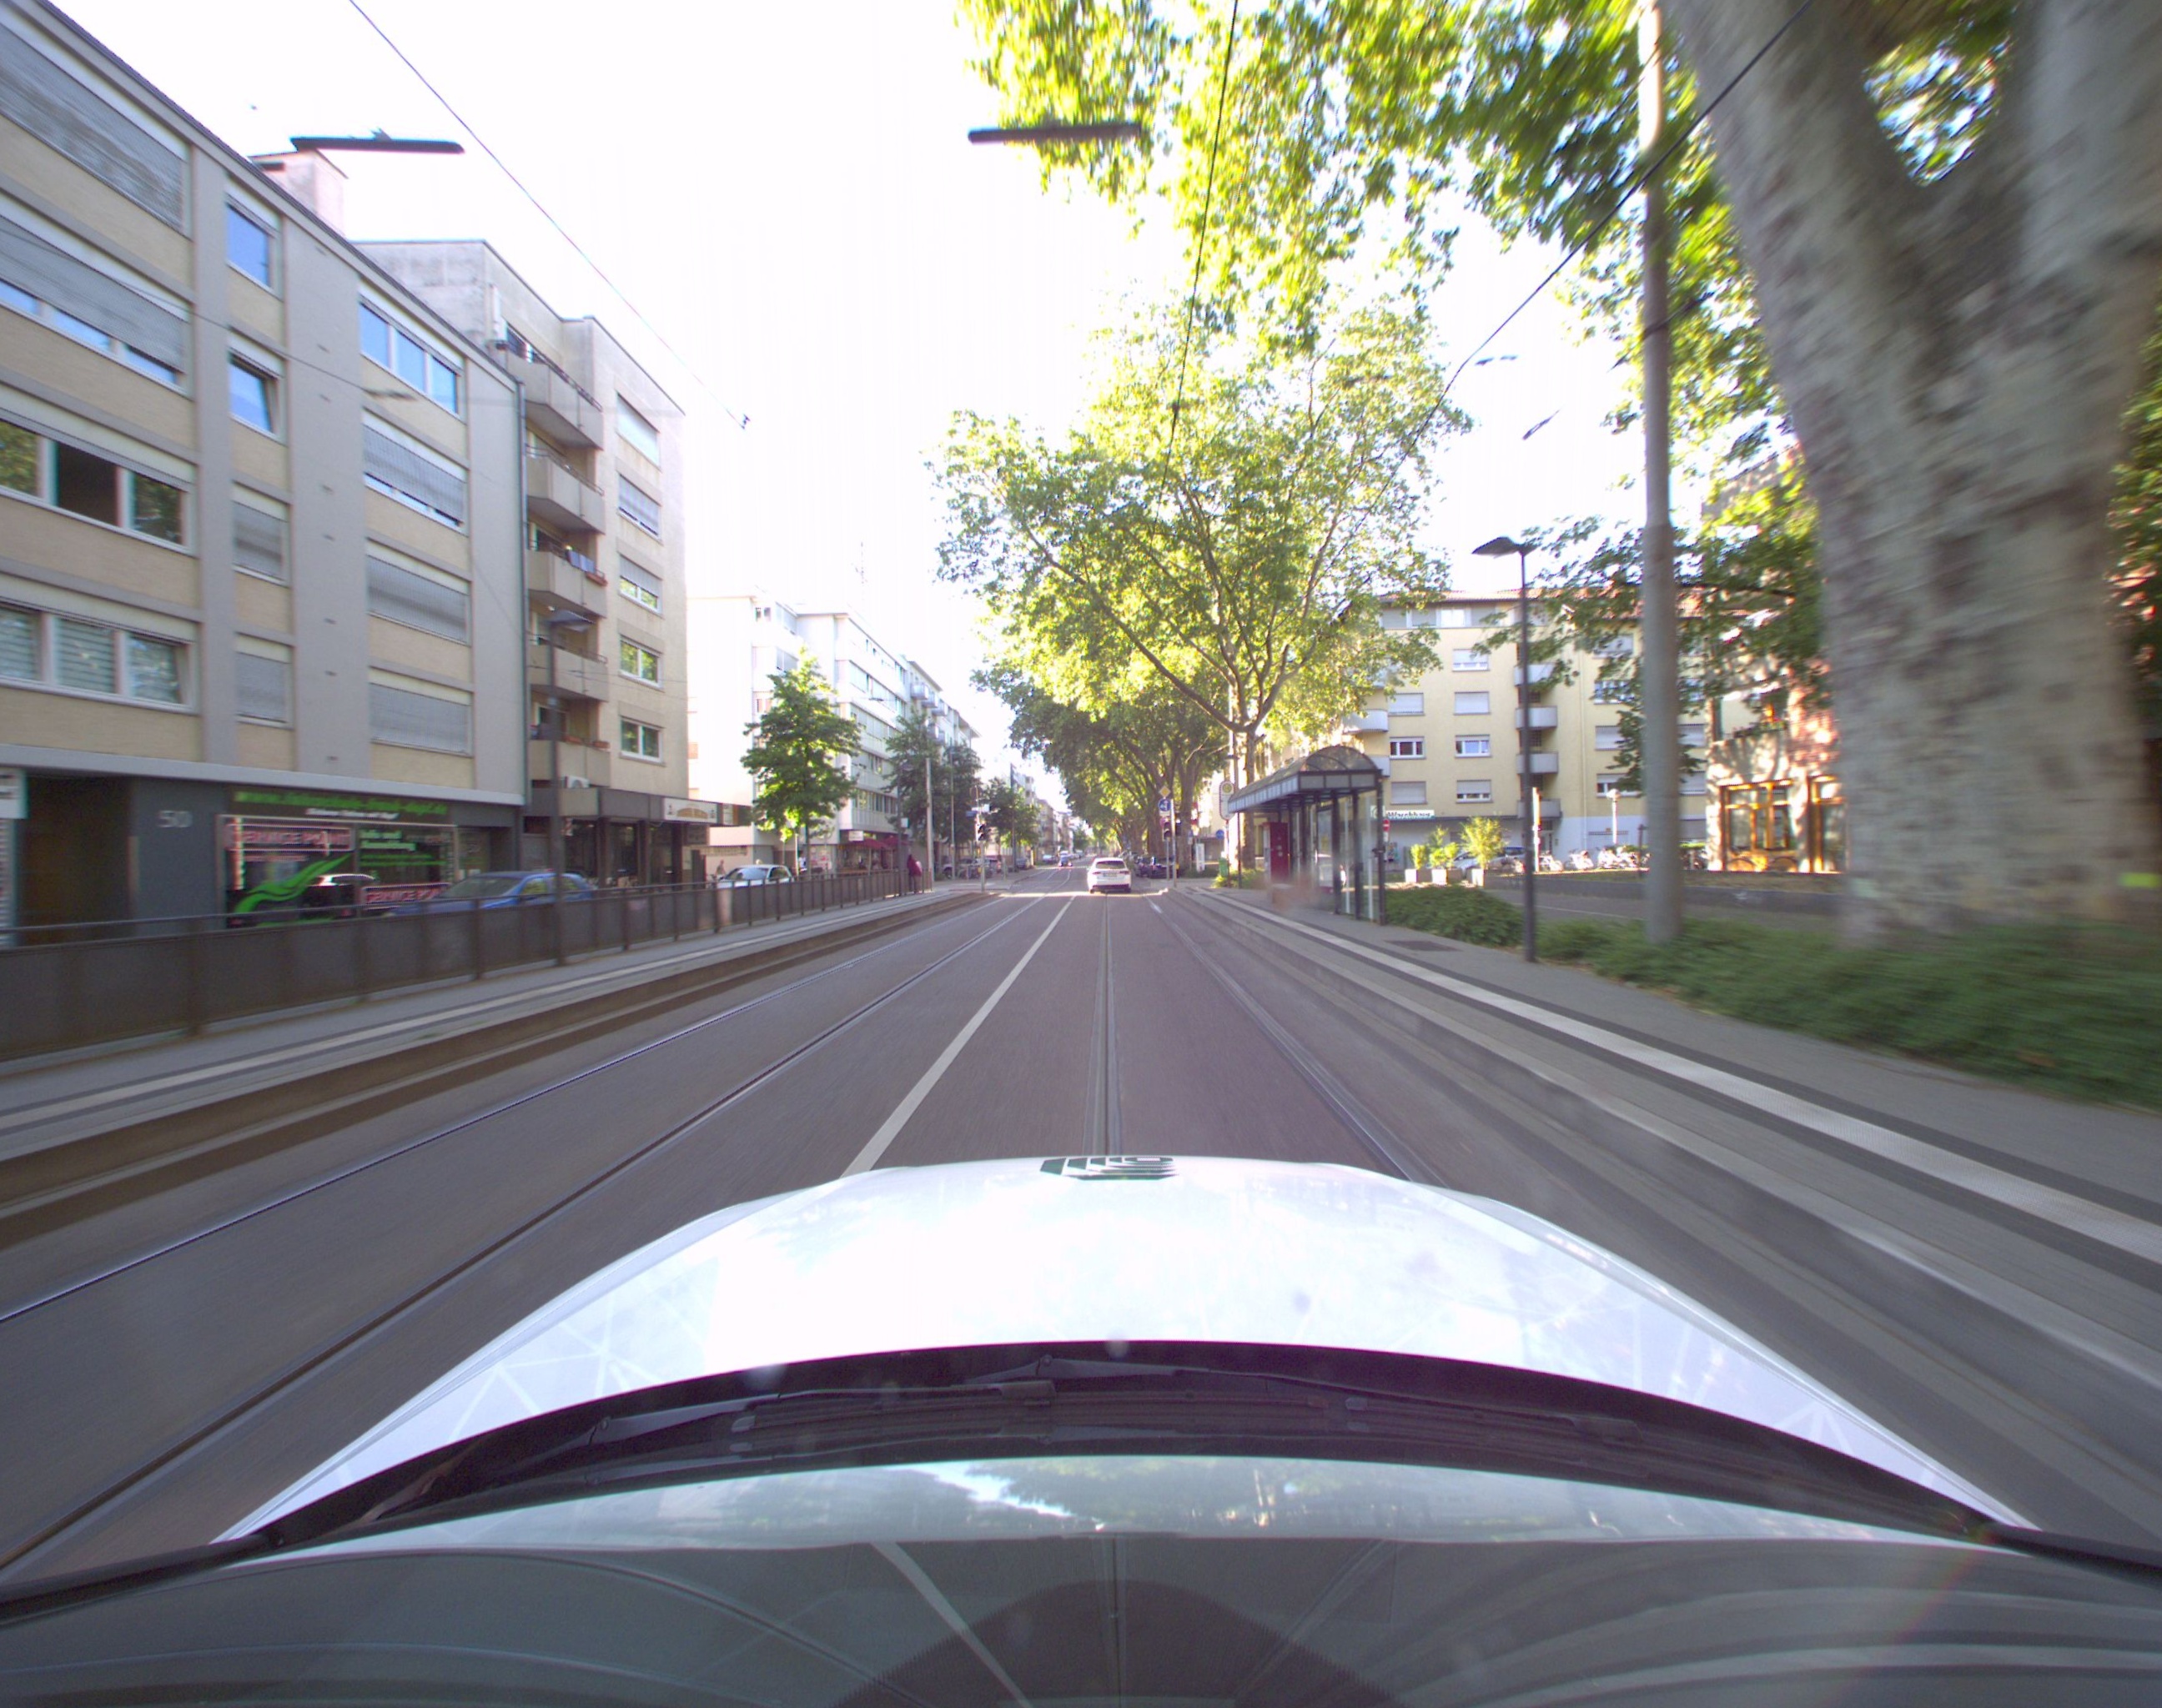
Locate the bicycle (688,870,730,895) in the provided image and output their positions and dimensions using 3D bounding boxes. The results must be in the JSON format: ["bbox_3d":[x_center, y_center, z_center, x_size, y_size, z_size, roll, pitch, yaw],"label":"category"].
[{"bbox_3d":[-17.455,1.339,38.240,1.772,1.156,0.574,-2,0,12],"label":"bicycle"}]

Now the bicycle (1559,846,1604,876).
[{"bbox_3d":[20.214,0.269,32.937,0.633,1.156,1.984,-3,0,4],"label":"bicycle"}]

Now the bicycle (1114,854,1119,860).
[{"bbox_3d":[6.382,0.550,146.677,0.647,1.071,1.583,-2,0,0],"label":"bicycle"}]

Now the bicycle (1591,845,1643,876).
[{"bbox_3d":[21.498,0.263,32.730,0.727,1.156,2.052,-3,0,2],"label":"bicycle"}]

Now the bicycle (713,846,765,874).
[{"bbox_3d":[-14.954,0.259,35.655,2.038,1.156,0.568,-2,0,-21],"label":"bicycle"}]

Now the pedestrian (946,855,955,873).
[{"bbox_3d":[-12.682,0.955,79.122,0.661,1.691,0.748,-1,0,0],"label":"pedestrian"}]

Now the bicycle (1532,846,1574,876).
[{"bbox_3d":[18.969,0.278,32.771,0.598,1.156,1.696,-3,0,-3],"label":"bicycle"}]

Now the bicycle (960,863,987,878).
[{"bbox_3d":[-7.673,1.176,58.217,1.825,1.007,0.657,0,-1,-4],"label":"bicycle"}]

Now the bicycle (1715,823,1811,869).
[{"bbox_3d":[18.824,-0.221,22.515,1.913,1.156,0.575,-3,-1,17],"label":"bicycle"}]

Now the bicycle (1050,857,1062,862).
[{"bbox_3d":[-5.448,1.242,179.365,2.545,1.172,0.873,2,-2,-38],"label":"bicycle"}]

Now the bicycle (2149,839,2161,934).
[{"bbox_3d":[14.266,0.344,9.779,2.023,1.156,0.572,-3,0,2],"label":"bicycle"}]

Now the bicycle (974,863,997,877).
[{"bbox_3d":[-7.230,1.205,61.784,1.687,1.007,0.657,0,-1,-4],"label":"bicycle"}]

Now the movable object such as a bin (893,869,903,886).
[{"bbox_3d":[-10.311,1.329,45.860,0.539,0.932,0.647,-2,0,-15],"label":"movable object such as a bin"}]

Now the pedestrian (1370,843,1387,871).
[{"bbox_3d":[17.986,0.163,49.261,0.704,1.682,0.656,-2,0,-26],"label":"pedestrian"}]

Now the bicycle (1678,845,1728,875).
[{"bbox_3d":[24.681,0.232,32.363,0.561,1.156,1.696,-3,0,-3],"label":"bicycle"}]

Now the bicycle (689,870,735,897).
[{"bbox_3d":[-17.023,1.356,37.555,1.849,1.156,0.573,-2,0,5],"label":"bicycle"}]

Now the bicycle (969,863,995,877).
[{"bbox_3d":[-7.346,1.194,60.445,1.825,1.007,0.657,0,-1,-4],"label":"bicycle"}]

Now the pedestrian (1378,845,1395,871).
[{"bbox_3d":[18.044,0.239,48.154,0.694,1.539,0.695,-2,0,42],"label":"pedestrian"}]

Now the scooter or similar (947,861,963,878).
[{"bbox_3d":[-9.061,1.127,58.668,1.076,1.176,0.498,0,-1,0],"label":"scooter or similar"}]

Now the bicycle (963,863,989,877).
[{"bbox_3d":[-7.570,1.142,58.658,1.825,1.007,0.657,0,-1,-4],"label":"bicycle"}]

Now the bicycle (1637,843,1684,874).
[{"bbox_3d":[23.291,0.181,32.751,0.659,1.156,1.698,-3,0,1],"label":"bicycle"}]

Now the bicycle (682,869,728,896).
[{"bbox_3d":[-17.247,1.315,37.380,1.781,1.156,0.571,-2,0,-6],"label":"bicycle"}]

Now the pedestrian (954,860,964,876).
[{"bbox_3d":[-10.087,1.132,67.096,0.713,1.297,0.908,-2,0,-12],"label":"pedestrian"}]

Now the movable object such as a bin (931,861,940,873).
[{"bbox_3d":[-13.142,1.204,73.680,0.675,1.055,0.622,-2,0,3],"label":"movable object such as a bin"}]

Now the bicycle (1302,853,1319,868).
[{"bbox_3d":[16.529,0.465,58.648,0.569,0.997,1.778,-3,0,-3],"label":"bicycle"}]

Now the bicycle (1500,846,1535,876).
[{"bbox_3d":[17.892,0.294,33.416,0.597,1.156,1.700,-3,0,5],"label":"bicycle"}]

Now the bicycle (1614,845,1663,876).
[{"bbox_3d":[22.446,0.255,32.845,0.659,1.156,1.851,-3,0,1],"label":"bicycle"}]

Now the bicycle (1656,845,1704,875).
[{"bbox_3d":[24.015,0.242,32.698,0.659,1.156,1.698,-3,0,1],"label":"bicycle"}]

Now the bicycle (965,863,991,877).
[{"bbox_3d":[-7.169,1.105,56.726,1.687,1.007,0.657,0,-1,-4],"label":"bicycle"}]

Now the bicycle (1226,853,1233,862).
[{"bbox_3d":[18.731,0.471,102.773,0.580,1.104,1.923,-3,0,1],"label":"bicycle"}]

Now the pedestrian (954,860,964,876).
[{"bbox_3d":[-9.853,1.120,65.852,0.713,1.297,0.744,-2,0,-13],"label":"pedestrian"}]

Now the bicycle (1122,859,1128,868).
[{"bbox_3d":[5.177,1.109,96.620,0.679,1.071,1.782,-2,0,2],"label":"bicycle"}]

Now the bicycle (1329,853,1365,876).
[{"bbox_3d":[15.055,0.594,46.083,1.797,1.156,0.741,-3,0,-21],"label":"bicycle"}]

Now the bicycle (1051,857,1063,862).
[{"bbox_3d":[-5.359,1.246,180.246,2.520,1.172,0.718,1,-2,-5],"label":"bicycle"}]

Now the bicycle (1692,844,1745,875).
[{"bbox_3d":[25.330,0.226,32.389,0.519,1.156,1.692,-3,0,-9],"label":"bicycle"}]
